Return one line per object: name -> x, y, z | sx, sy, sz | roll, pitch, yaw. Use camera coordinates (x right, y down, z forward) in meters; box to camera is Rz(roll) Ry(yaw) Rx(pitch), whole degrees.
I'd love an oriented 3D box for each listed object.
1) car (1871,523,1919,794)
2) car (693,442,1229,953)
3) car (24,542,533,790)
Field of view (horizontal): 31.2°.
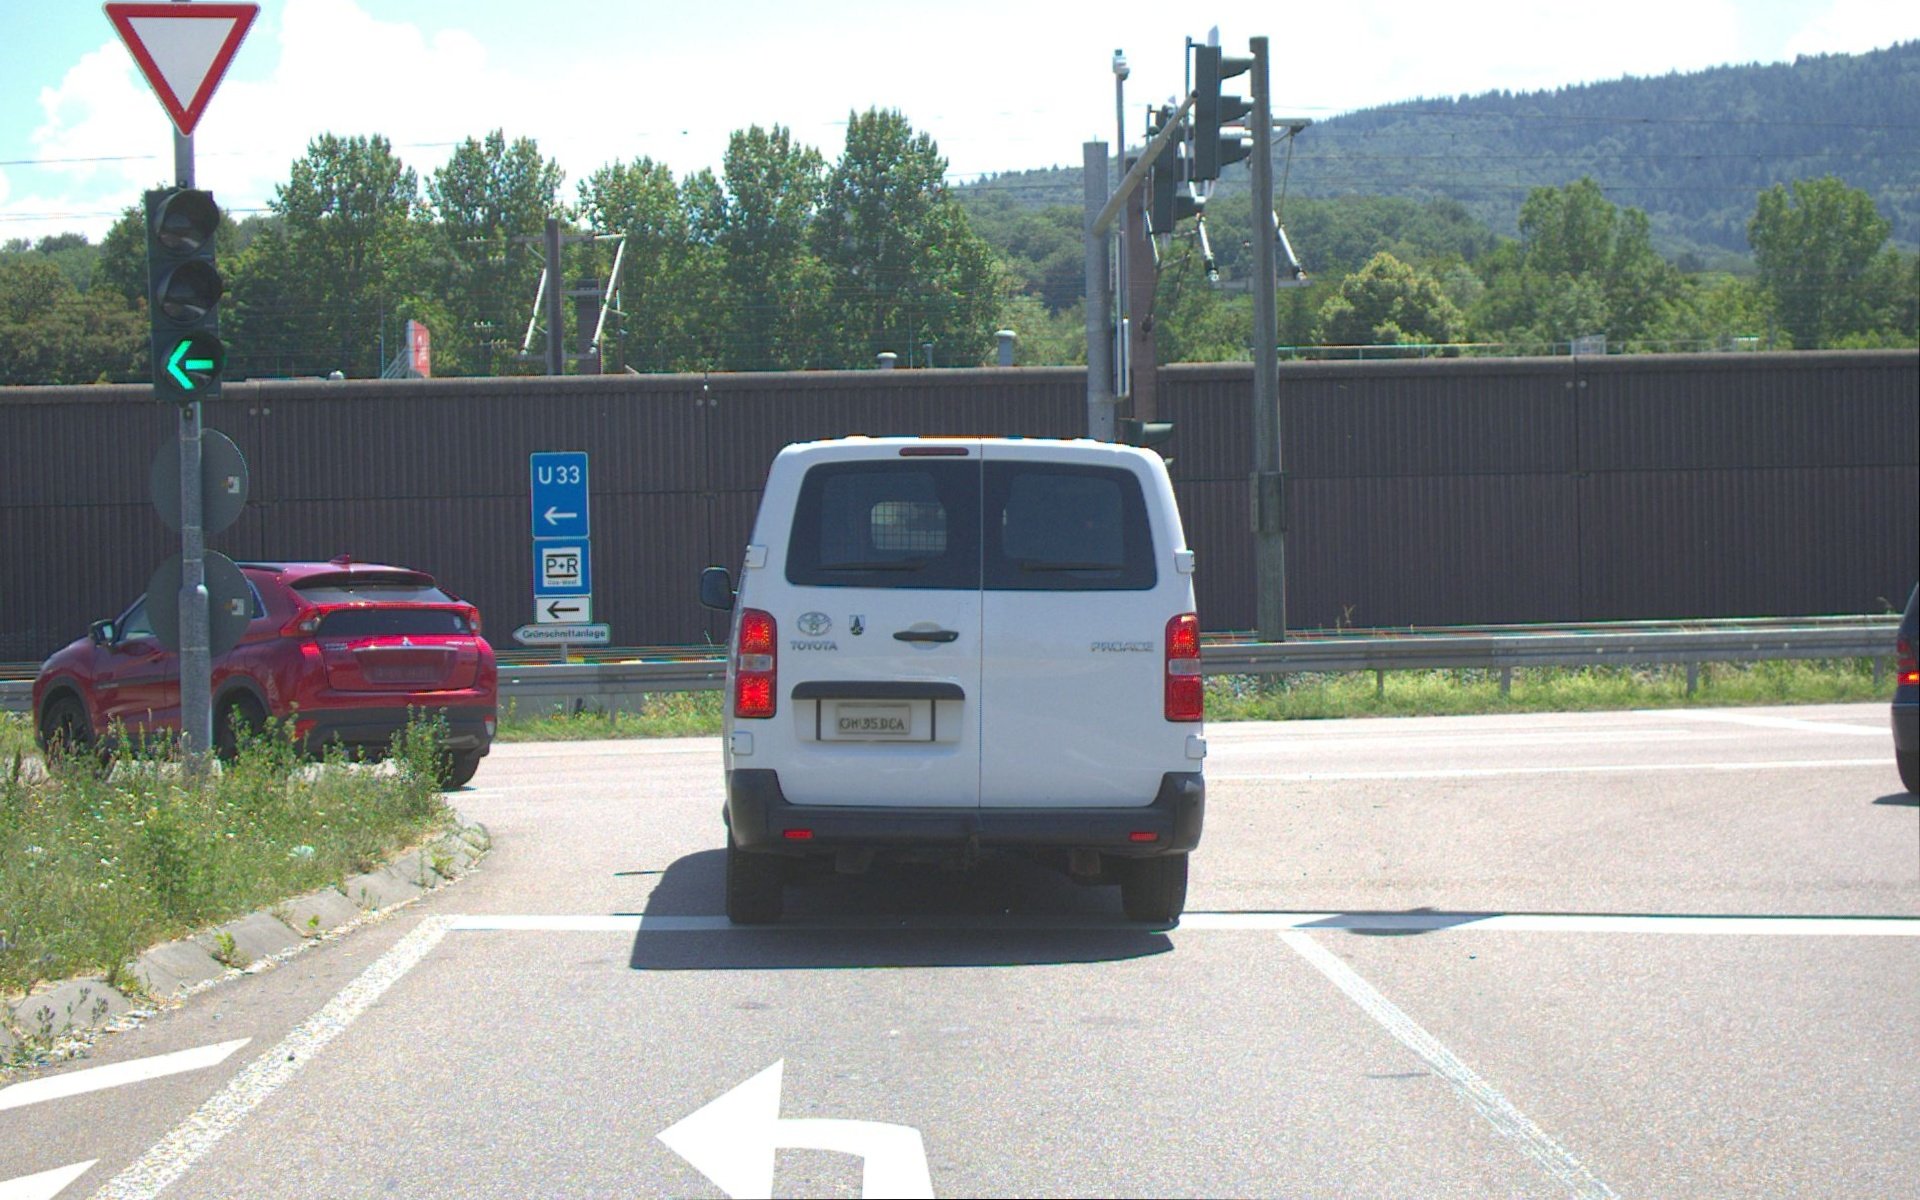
car -> 7.085, 0.328, 21.280 | 1.641, 1.591, 3.554 | 1, 1, 36
car -> -0.178, 0.316, 15.108 | 1.945, 1.875, 4.882 | 0, 1, -5
car -> -5.062, 0.482, 25.158 | 1.906, 1.644, 4.139 | -1, -1, -39
